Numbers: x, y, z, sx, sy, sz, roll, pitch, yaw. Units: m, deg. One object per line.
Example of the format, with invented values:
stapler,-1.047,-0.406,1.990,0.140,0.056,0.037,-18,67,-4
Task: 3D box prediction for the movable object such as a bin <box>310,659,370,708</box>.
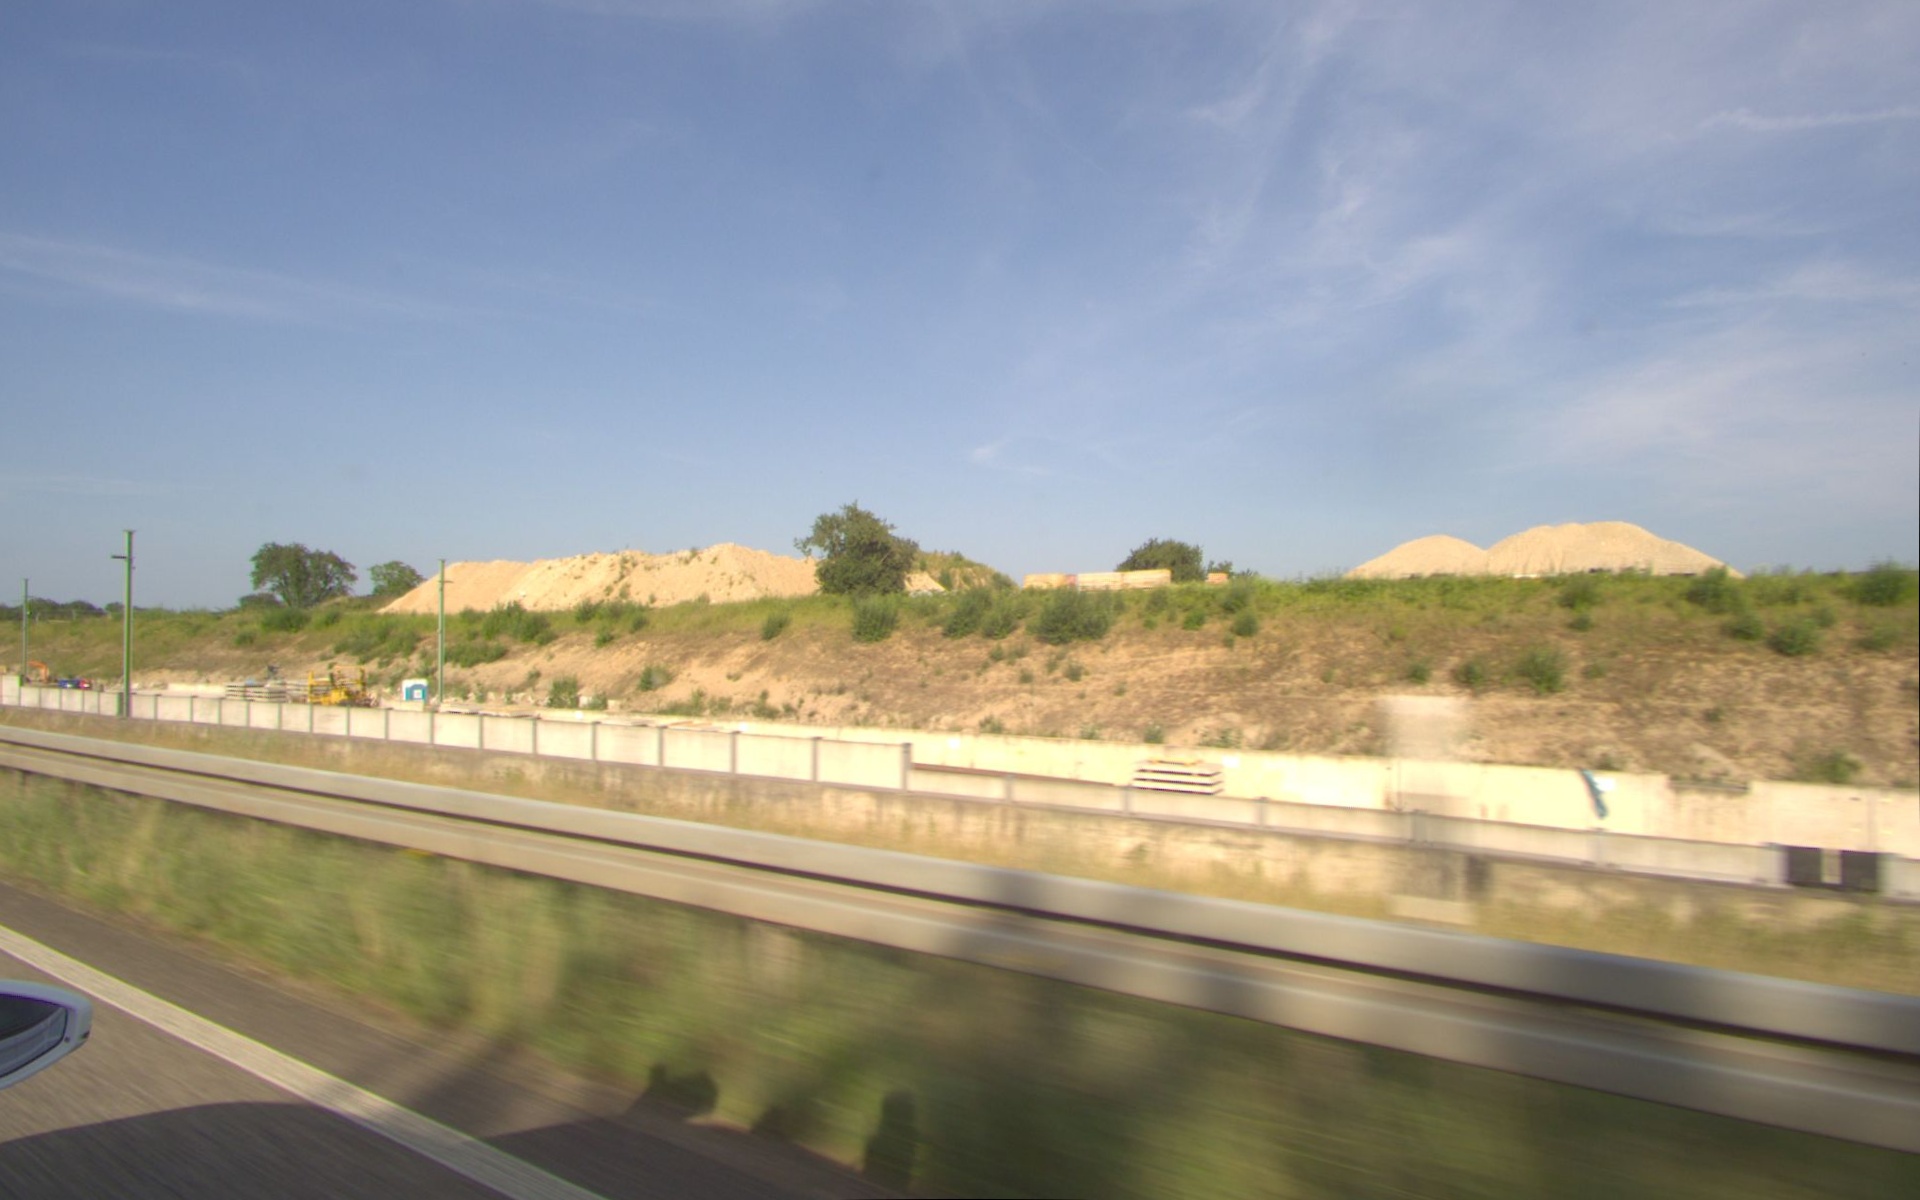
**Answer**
movable object such as a bin,-35.988,4.800,58.106,2.875,2.696,2.007,1,-1,-33
